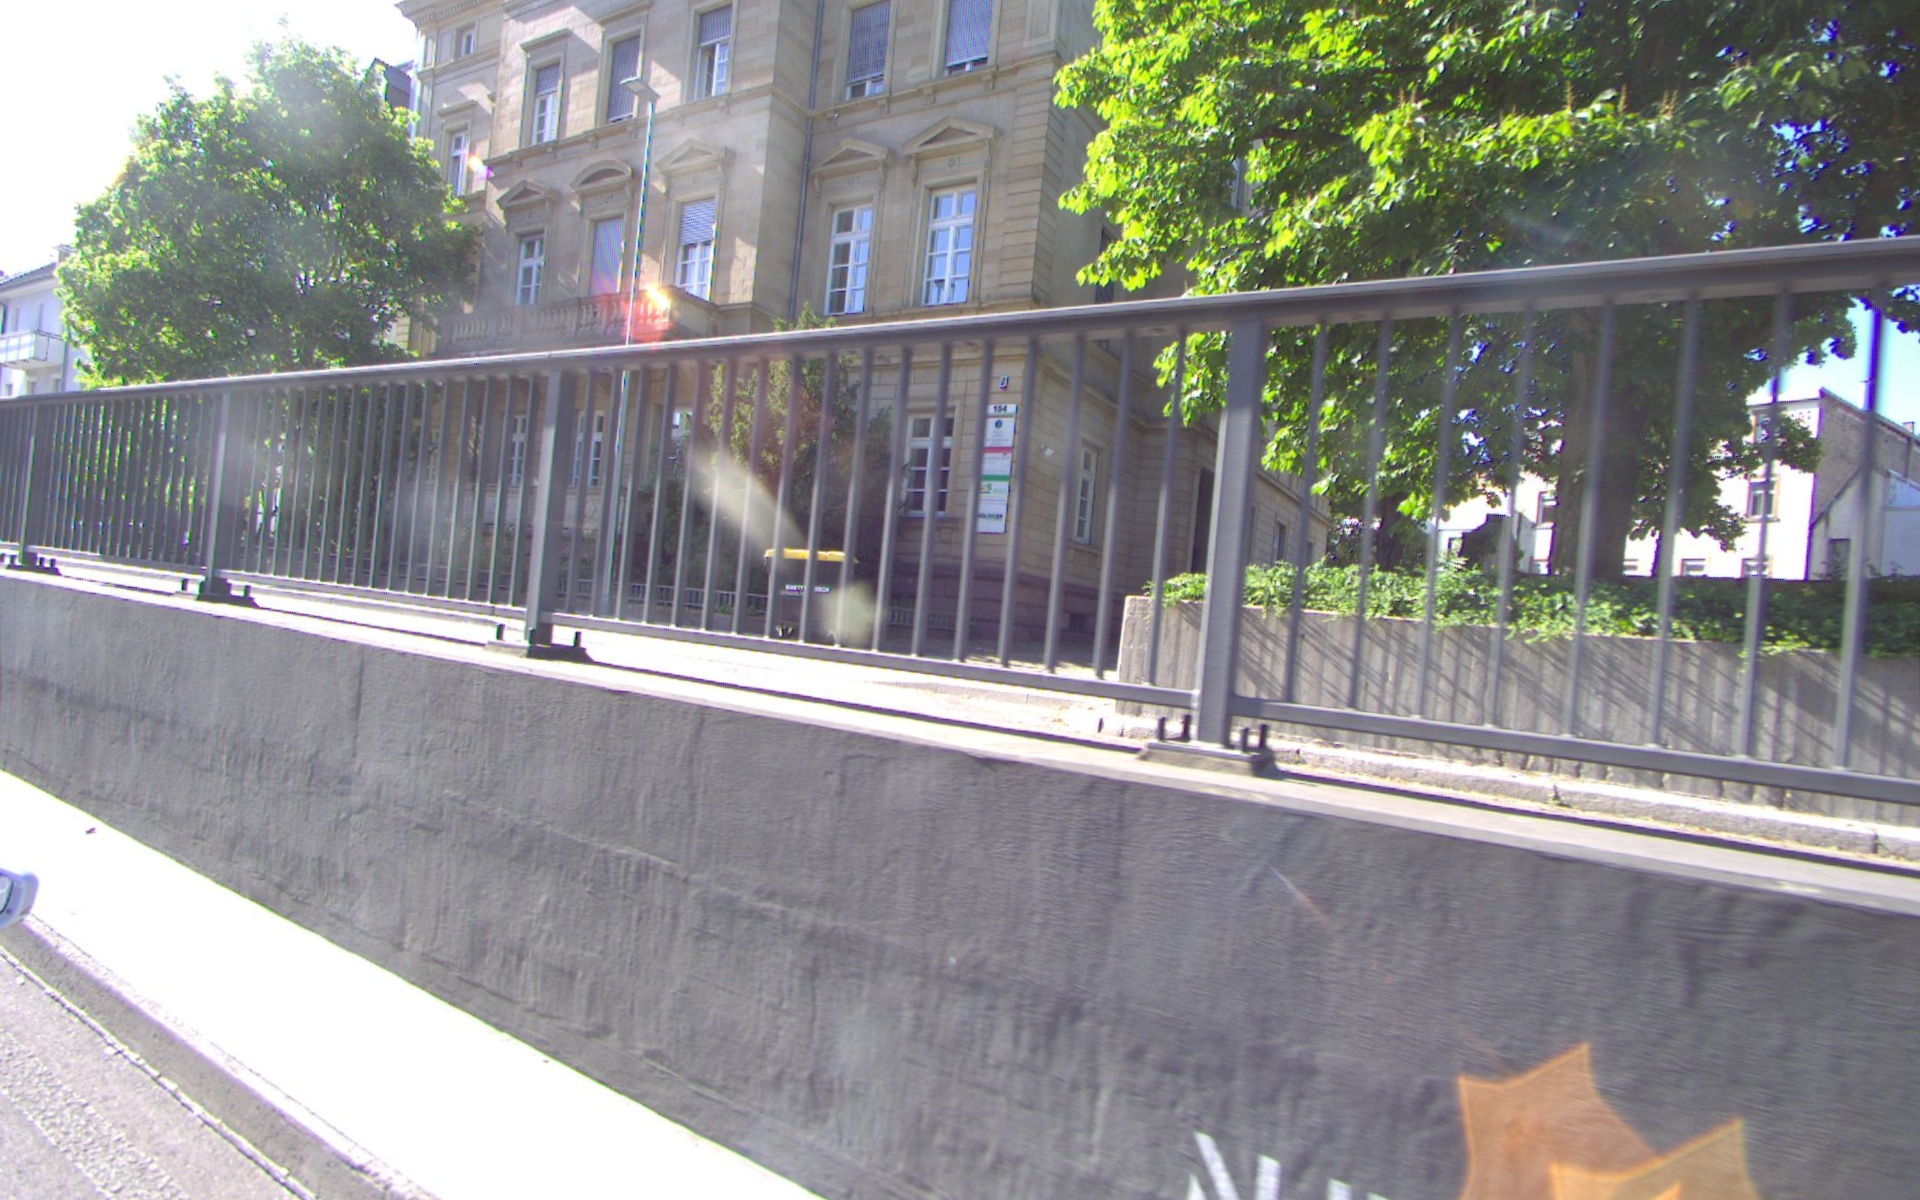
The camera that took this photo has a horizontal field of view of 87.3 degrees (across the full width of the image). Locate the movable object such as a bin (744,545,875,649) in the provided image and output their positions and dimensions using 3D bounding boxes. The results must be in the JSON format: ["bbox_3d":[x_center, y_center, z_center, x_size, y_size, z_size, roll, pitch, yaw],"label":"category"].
[{"bbox_3d":[-2.204,-0.080,14.919,1.383,1.344,1.448,6,5,14],"label":"movable object such as a bin"}]

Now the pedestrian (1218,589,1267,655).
[{"bbox_3d":[6.940,0.540,24.692,0.799,1.498,0.852,6,-1,34],"label":"pedestrian"}]
